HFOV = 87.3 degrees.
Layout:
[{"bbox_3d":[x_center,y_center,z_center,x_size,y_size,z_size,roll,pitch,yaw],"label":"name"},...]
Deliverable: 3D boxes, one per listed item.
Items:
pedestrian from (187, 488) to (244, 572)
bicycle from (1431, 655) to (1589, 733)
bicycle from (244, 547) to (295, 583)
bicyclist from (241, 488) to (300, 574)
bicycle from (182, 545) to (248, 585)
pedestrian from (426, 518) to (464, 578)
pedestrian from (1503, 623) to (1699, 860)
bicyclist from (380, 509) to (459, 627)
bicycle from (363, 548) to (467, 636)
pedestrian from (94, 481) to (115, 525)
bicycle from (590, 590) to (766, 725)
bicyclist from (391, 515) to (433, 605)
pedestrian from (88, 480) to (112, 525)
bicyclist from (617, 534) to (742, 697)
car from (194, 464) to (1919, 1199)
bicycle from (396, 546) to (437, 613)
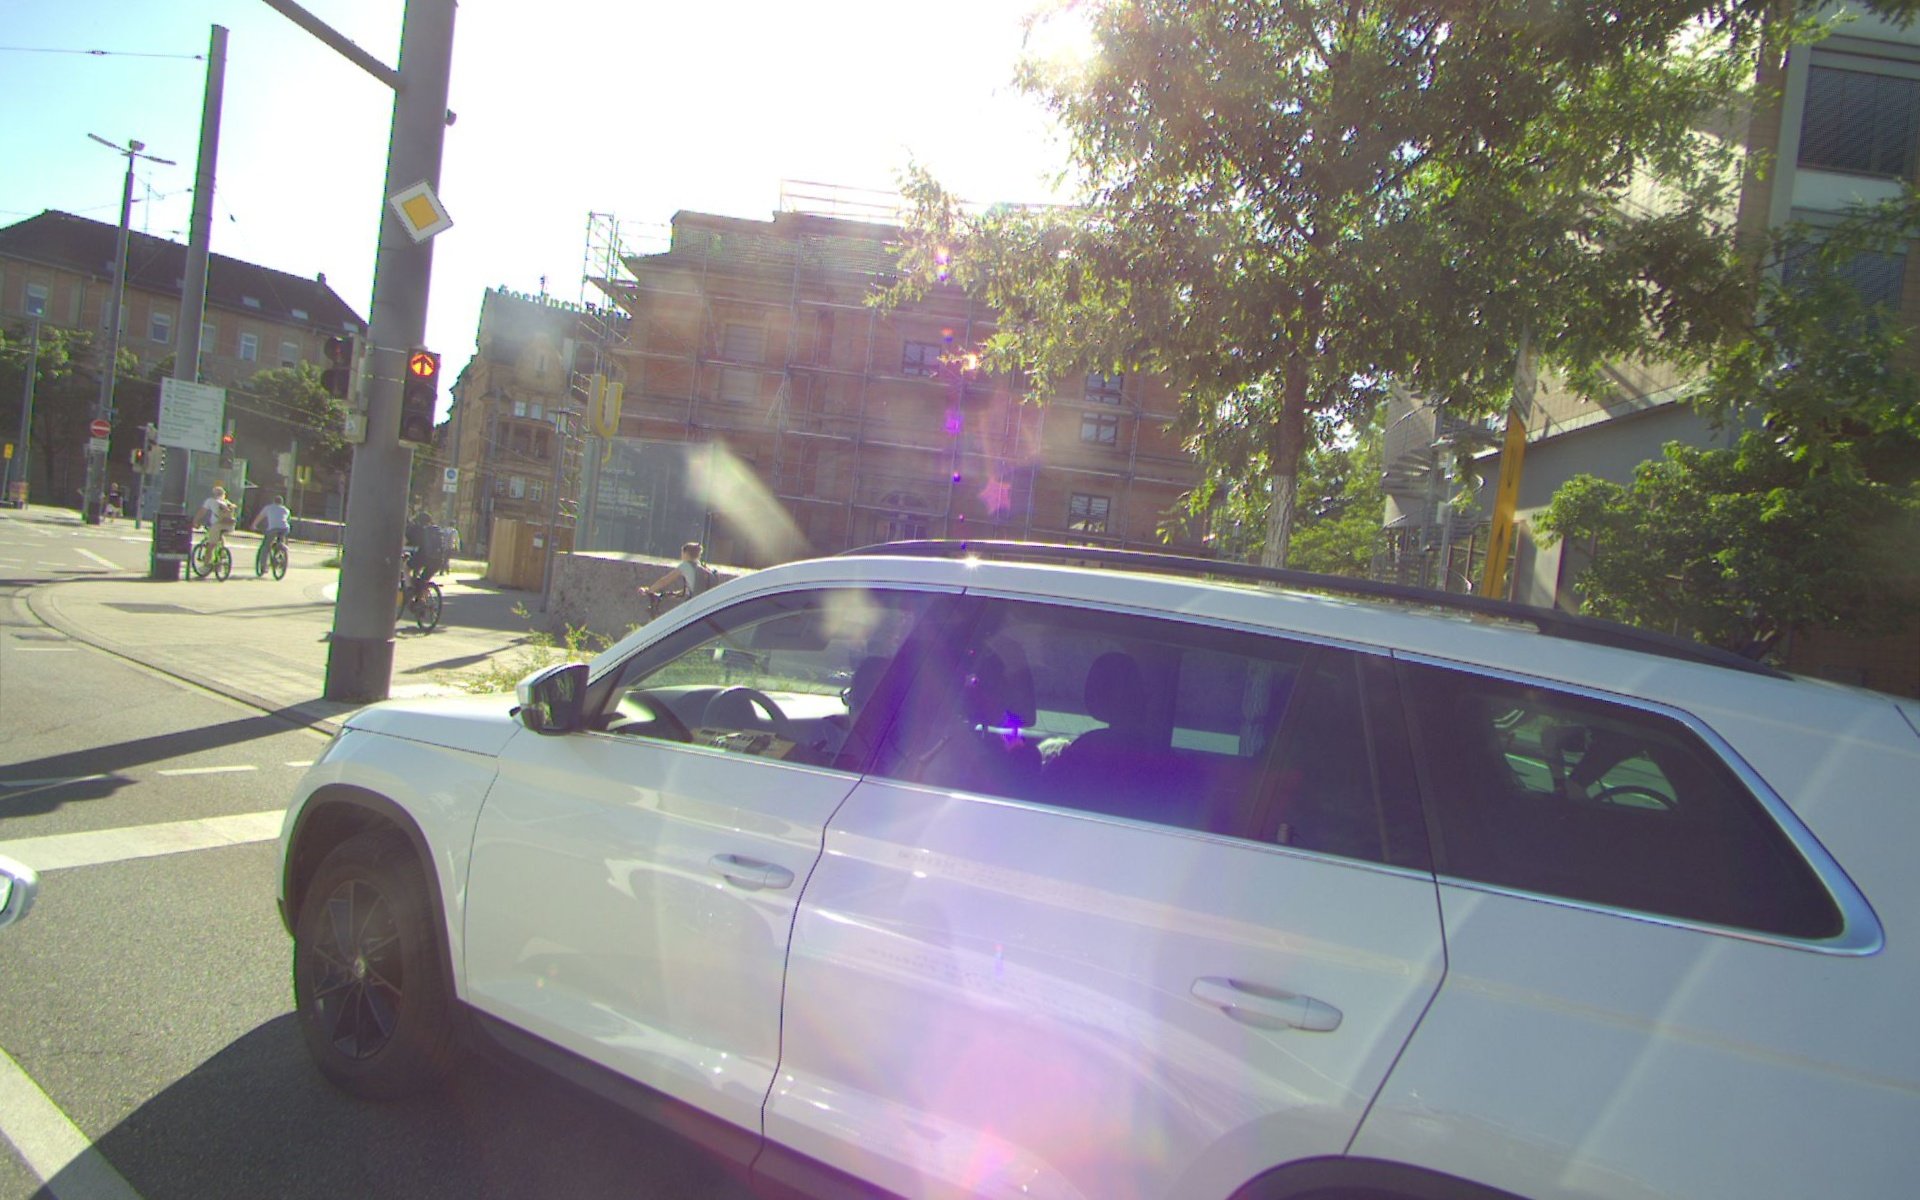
[{"bbox_3d":[-15.105,-1.426,20.414,0.844,1.582,0.548,7,1,34],"label":"pedestrian"},{"bbox_3d":[13.076,2.210,23.998,3.079,1.395,0.798,7,1,8],"label":"bicycle"},{"bbox_3d":[-15.483,-0.784,22.551,1.446,0.664,0.536,7,2,39],"label":"bicycle"},{"bbox_3d":[-15.454,-1.547,22.536,0.910,1.802,0.746,8,2,39],"label":"bicyclist"},{"bbox_3d":[-15.185,-0.719,20.493,1.698,0.664,0.536,7,3,34],"label":"bicycle"},{"bbox_3d":[-17.171,-1.727,33.562,0.887,1.883,0.922,6,1,-23],"label":"pedestrian"},{"bbox_3d":[4.322,0.917,6.855,0.945,1.421,0.516,7,3,30],"label":"pedestrian"},{"bbox_3d":[-8.157,-0.484,15.171,0.979,1.661,0.624,8,5,35],"label":"bicyclist"},{"bbox_3d":[-8.291,-0.139,15.274,1.821,1.130,0.624,8,5,35],"label":"bicycle"},{"bbox_3d":[-41.430,-4.707,48.726,0.443,2.039,0.462,7,2,14],"label":"pedestrian"},{"bbox_3d":[-3.060,0.595,10.828,1.853,1.178,0.685,7,1,34],"label":"bicycle"},{"bbox_3d":[-10.241,-0.754,18.790,0.567,1.589,0.939,5,2,-29],"label":"bicyclist"},{"bbox_3d":[-41.053,-4.654,48.014,0.443,2.039,0.574,7,1,14],"label":"pedestrian"},{"bbox_3d":[-3.018,0.166,10.824,0.961,1.618,0.685,7,1,34],"label":"bicyclist"},{"bbox_3d":[0.006,0.699,2.689,4.224,1.662,1.697,7,0,30],"label":"car"},{"bbox_3d":[-10.215,-0.404,18.892,0.567,1.140,1.726,5,2,-29],"label":"bicycle"}]
